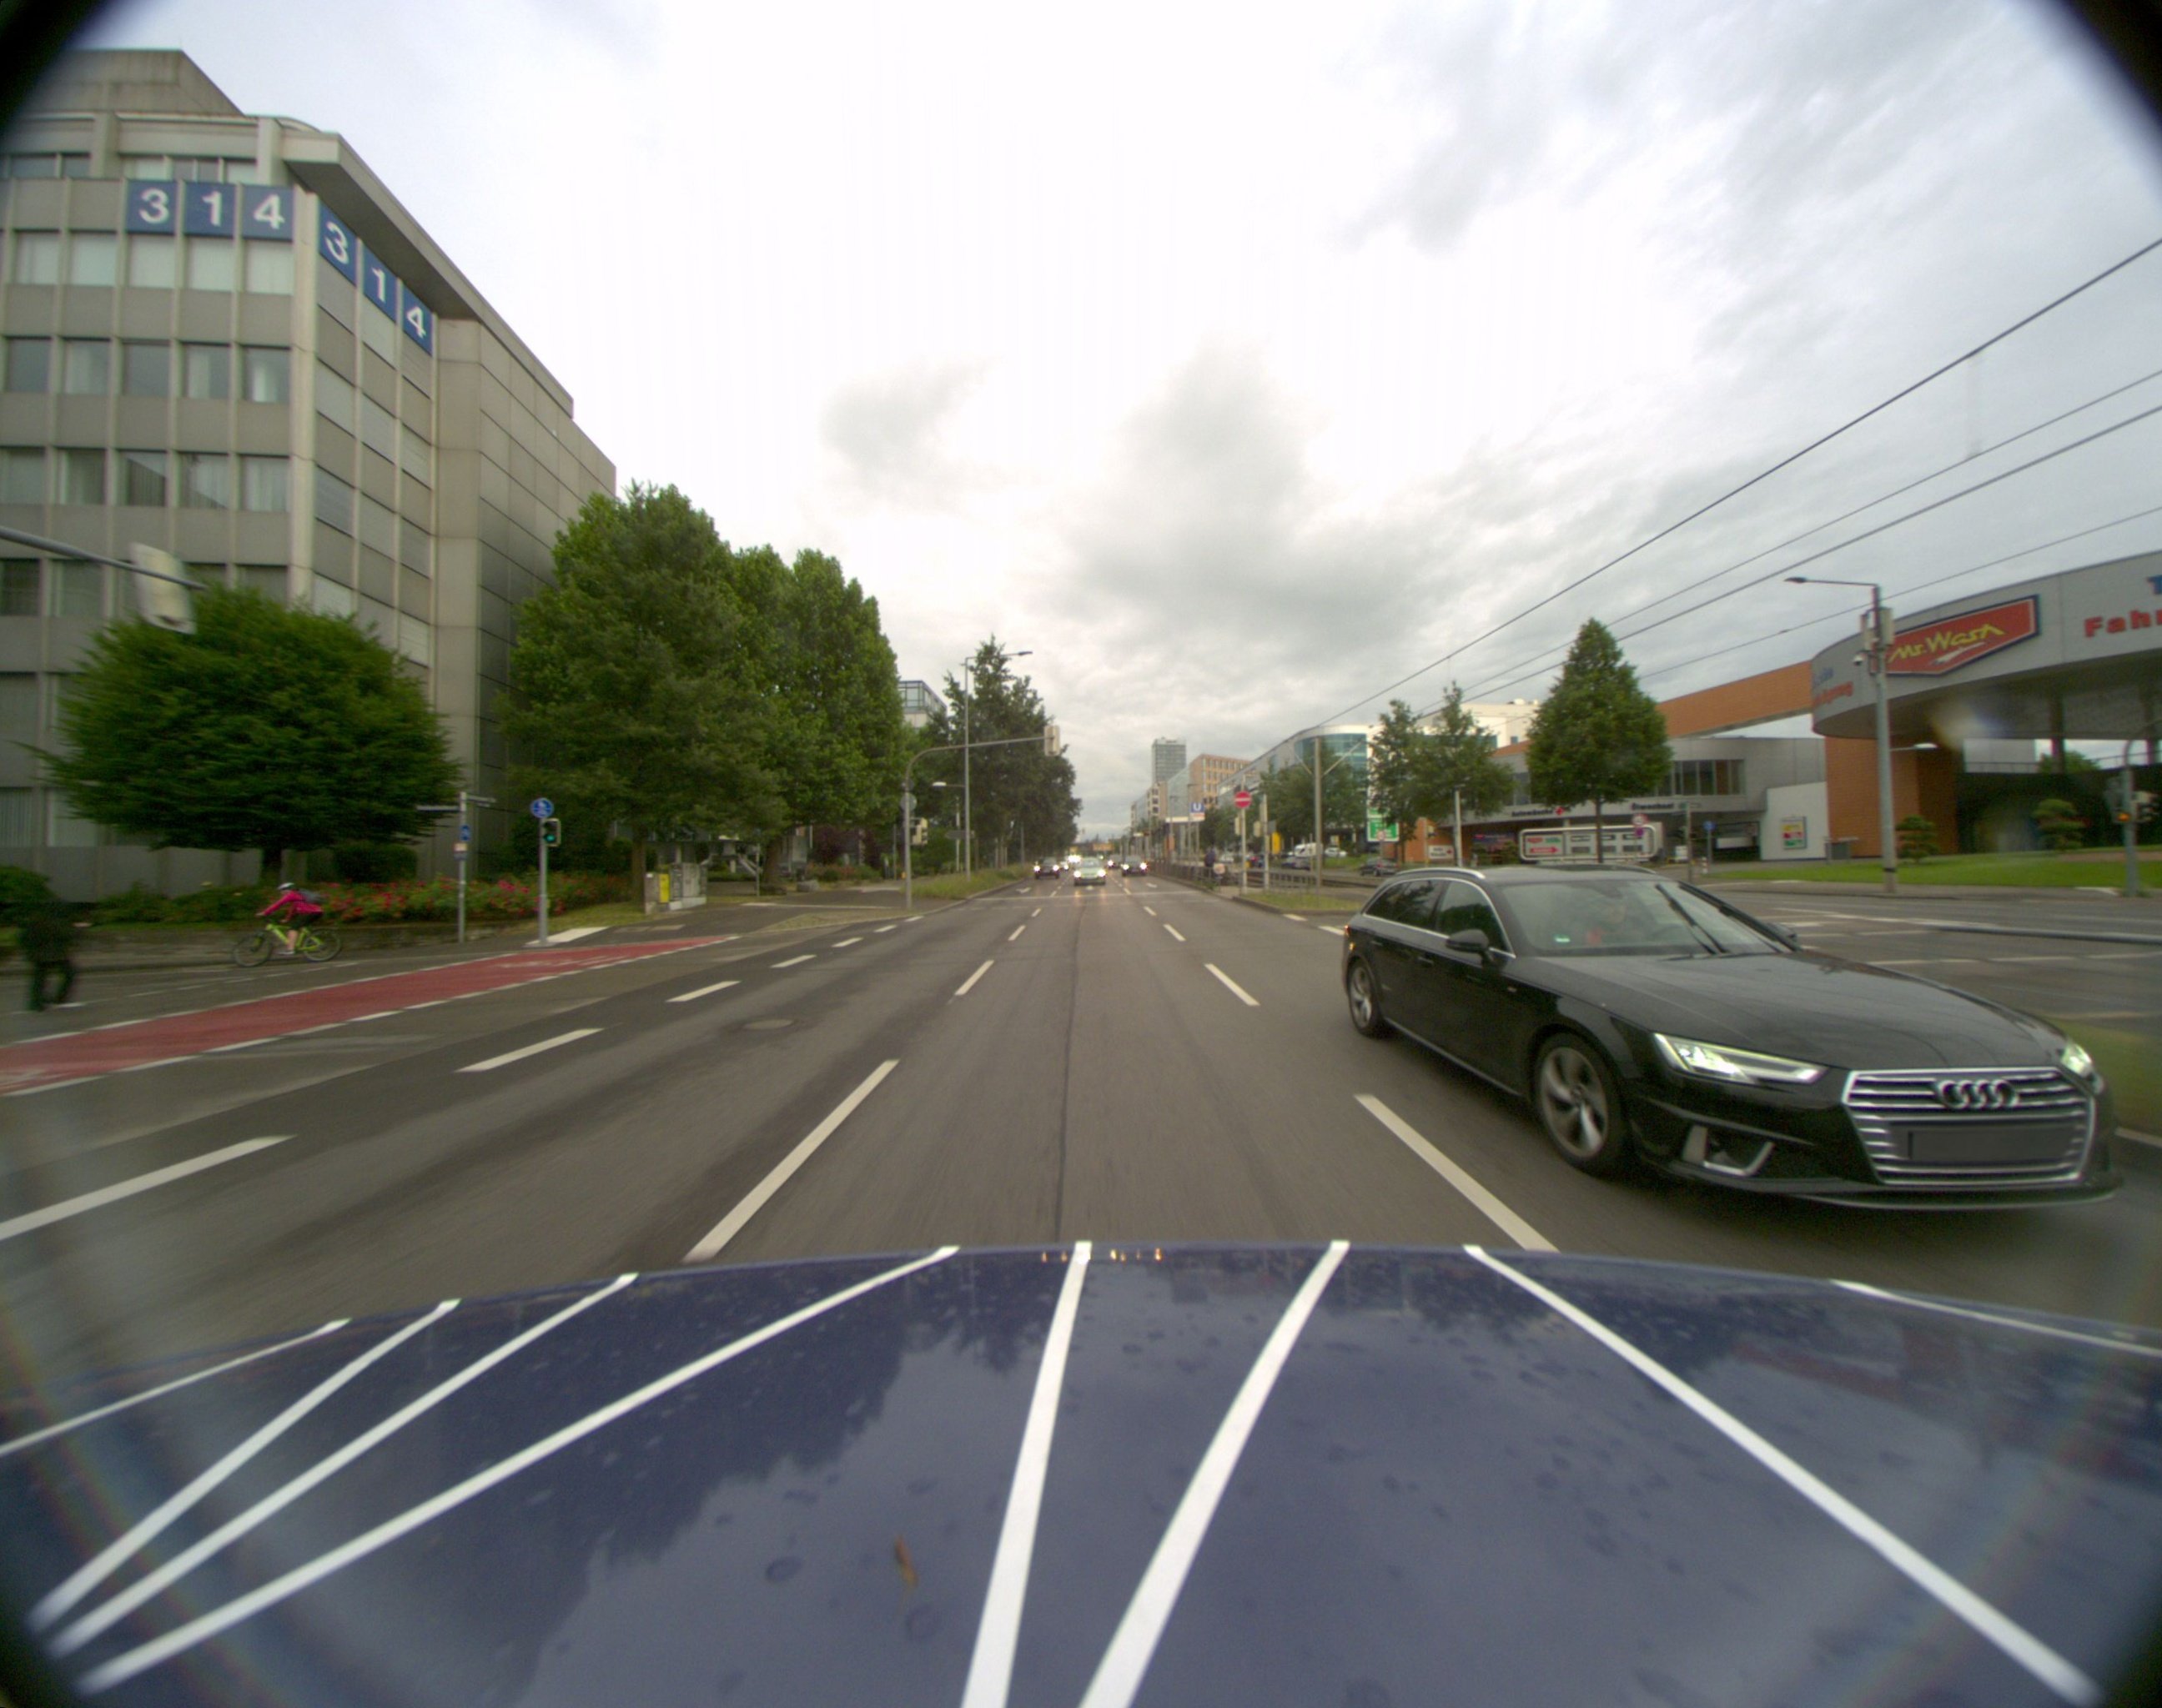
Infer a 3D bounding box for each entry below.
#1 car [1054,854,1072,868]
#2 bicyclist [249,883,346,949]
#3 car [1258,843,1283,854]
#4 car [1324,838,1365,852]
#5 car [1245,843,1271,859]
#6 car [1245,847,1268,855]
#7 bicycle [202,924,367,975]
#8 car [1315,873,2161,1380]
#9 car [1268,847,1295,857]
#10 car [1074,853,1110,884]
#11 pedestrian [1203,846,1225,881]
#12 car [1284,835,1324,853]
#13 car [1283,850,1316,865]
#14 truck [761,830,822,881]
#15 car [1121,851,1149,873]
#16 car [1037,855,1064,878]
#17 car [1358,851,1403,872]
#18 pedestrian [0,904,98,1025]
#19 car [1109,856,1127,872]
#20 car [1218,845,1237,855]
[{"bbox_3d":[-2.010,0.814,87.056,1.873,1.533,4.106,-2,0,1],"label":"car"},{"bbox_3d":[-16.814,1.315,16.334,1.220,1.281,0.656,-4,1,-24],"label":"bicyclist"},{"bbox_3d":[34.179,-0.937,137.027,3.999,1.652,1.921,-4,1,-6],"label":"car"},{"bbox_3d":[41.581,-1.398,119.992,5.483,1.915,2.278,-3,1,-5],"label":"car"},{"bbox_3d":[20.351,-0.362,87.580,1.998,1.764,4.389,-1,0,1],"label":"car"},{"bbox_3d":[34.353,-0.623,148.784,3.845,1.482,1.821,-2,0,-17],"label":"car"},{"bbox_3d":[-16.955,2.018,16.259,2.321,0.804,0.668,-3,1,-24],"label":"bicycle"},{"bbox_3d":[3.118,0.927,4.818,1.794,1.426,4.828,-2,0,1],"label":"car"},{"bbox_3d":[33.784,-0.412,128.256,3.999,1.499,1.896,-3,1,-7],"label":"car"},{"bbox_3d":[0.580,0.750,41.449,1.803,1.533,4.374,-2,0,1],"label":"car"},{"bbox_3d":[6.362,0.433,36.373,0.703,1.641,0.648,-2,0,-28],"label":"pedestrian"},{"bbox_3d":[35.014,-1.539,119.322,5.487,2.614,2.276,-3,1,-17],"label":"car"},{"bbox_3d":[20.695,0.322,72.121,1.858,1.419,4.388,0,0,-1],"label":"car"},{"bbox_3d":[-15.427,0.069,40.733,1.751,2.503,3.998,-3,1,-2],"label":"truck"},{"bbox_3d":[3.979,0.563,56.515,1.798,1.493,4.000,-2,0,1],"label":"car"},{"bbox_3d":[-2.309,0.944,58.480,1.816,1.660,4.548,-2,0,1],"label":"car"},{"bbox_3d":[21.309,0.505,54.223,1.732,1.415,3.779,-1,0,0],"label":"car"},{"bbox_3d":[-14.417,1.498,10.597,0.901,1.532,0.801,-1,1,40],"label":"pedestrian"},{"bbox_3d":[4.155,1.097,85.479,1.781,1.670,4.131,-2,0,1],"label":"car"},{"bbox_3d":[23.937,-0.594,124.368,1.999,1.509,4.706,-3,1,-1],"label":"car"}]
